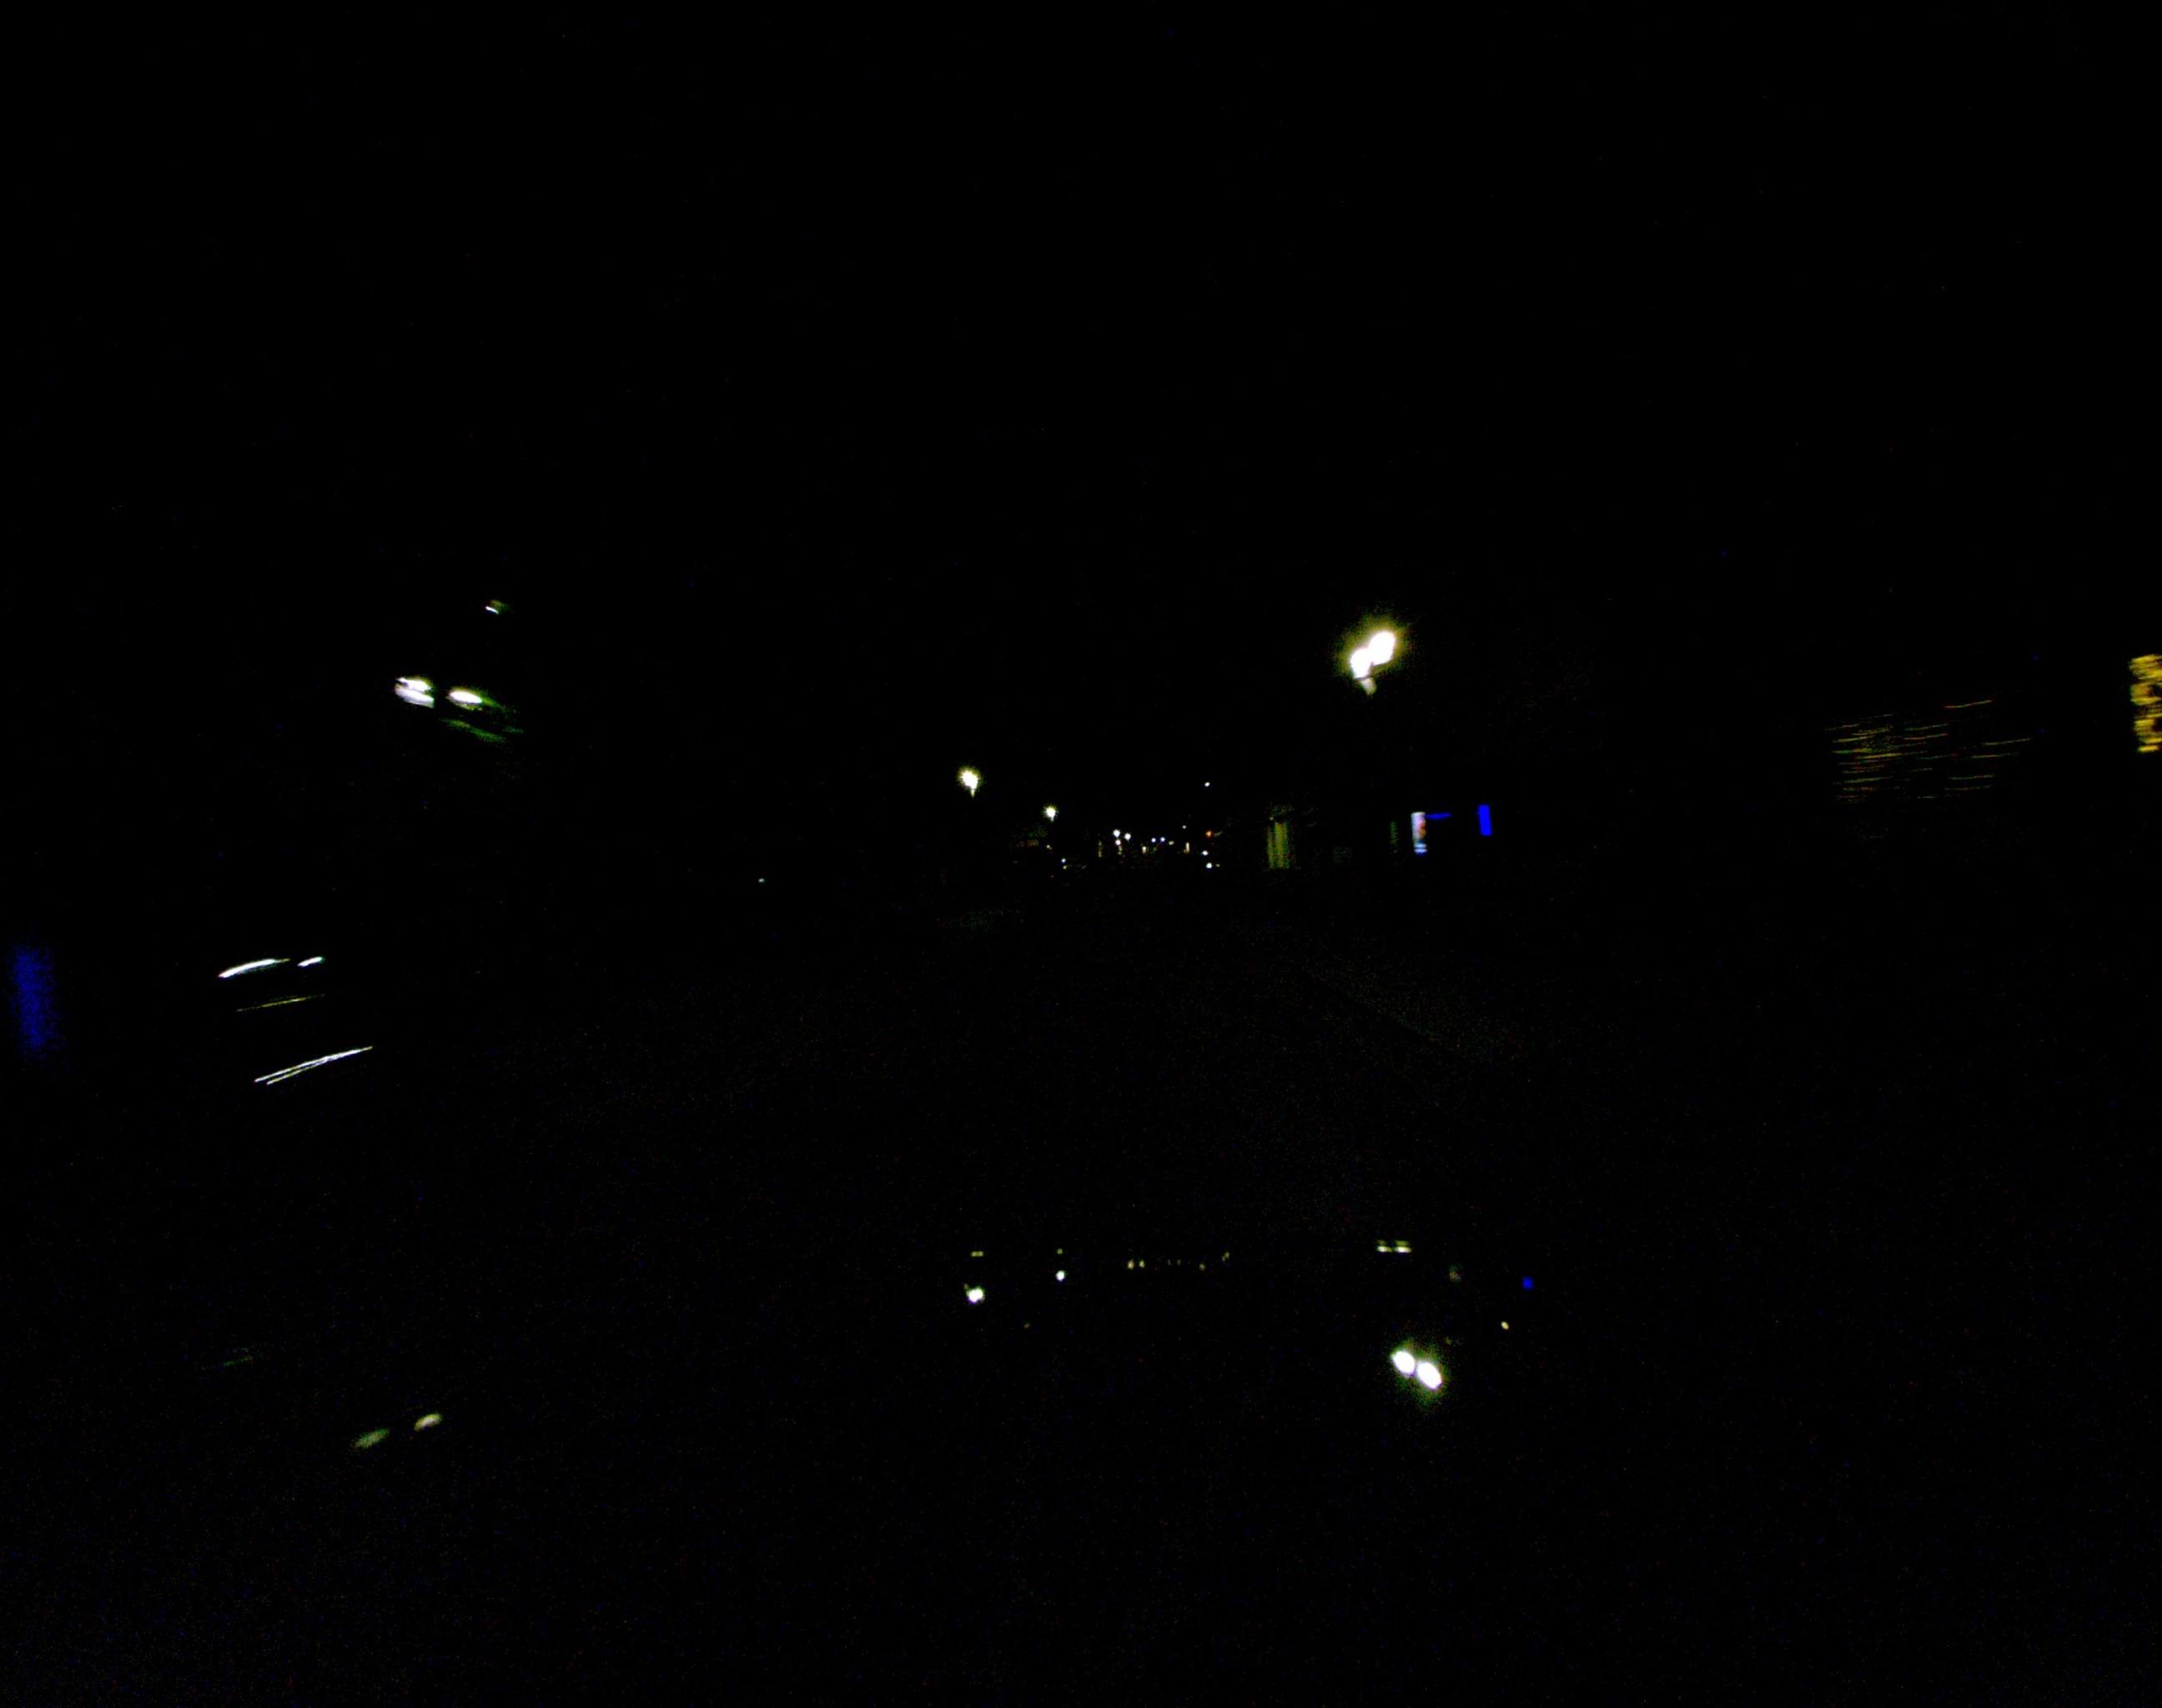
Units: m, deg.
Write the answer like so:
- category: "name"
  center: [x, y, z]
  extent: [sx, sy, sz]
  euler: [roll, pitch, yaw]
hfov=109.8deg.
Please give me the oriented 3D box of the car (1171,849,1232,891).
- category: "car"
  center: [4.890, 0.637, 31.311]
  extent: [1.795, 1.496, 4.000]
  euler: [-4, 0, 0]

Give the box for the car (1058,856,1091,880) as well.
- category: "car"
  center: [-0.414, 0.913, 51.232]
  extent: [1.737, 1.492, 4.001]
  euler: [-3, 0, 6]

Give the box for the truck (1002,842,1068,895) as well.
- category: "truck"
  center: [-2.078, 0.619, 36.599]
  extent: [2.109, 2.230, 6.289]
  euler: [-3, 0, 5]

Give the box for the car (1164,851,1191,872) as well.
- category: "car"
  center: [7.444, 0.531, 58.761]
  extent: [1.836, 1.458, 4.001]
  euler: [-3, 0, 5]

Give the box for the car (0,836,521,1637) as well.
- category: "car"
  center: [-3.413, 0.906, 0.800]
  extent: [1.912, 1.792, 4.936]
  euler: [-3, 0, 0]

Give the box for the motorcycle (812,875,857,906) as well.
- category: "motorcycle"
  center: [-10.728, 1.587, 33.086]
  extent: [1.725, 1.244, 0.433]
  euler: [-3, 1, -7]
